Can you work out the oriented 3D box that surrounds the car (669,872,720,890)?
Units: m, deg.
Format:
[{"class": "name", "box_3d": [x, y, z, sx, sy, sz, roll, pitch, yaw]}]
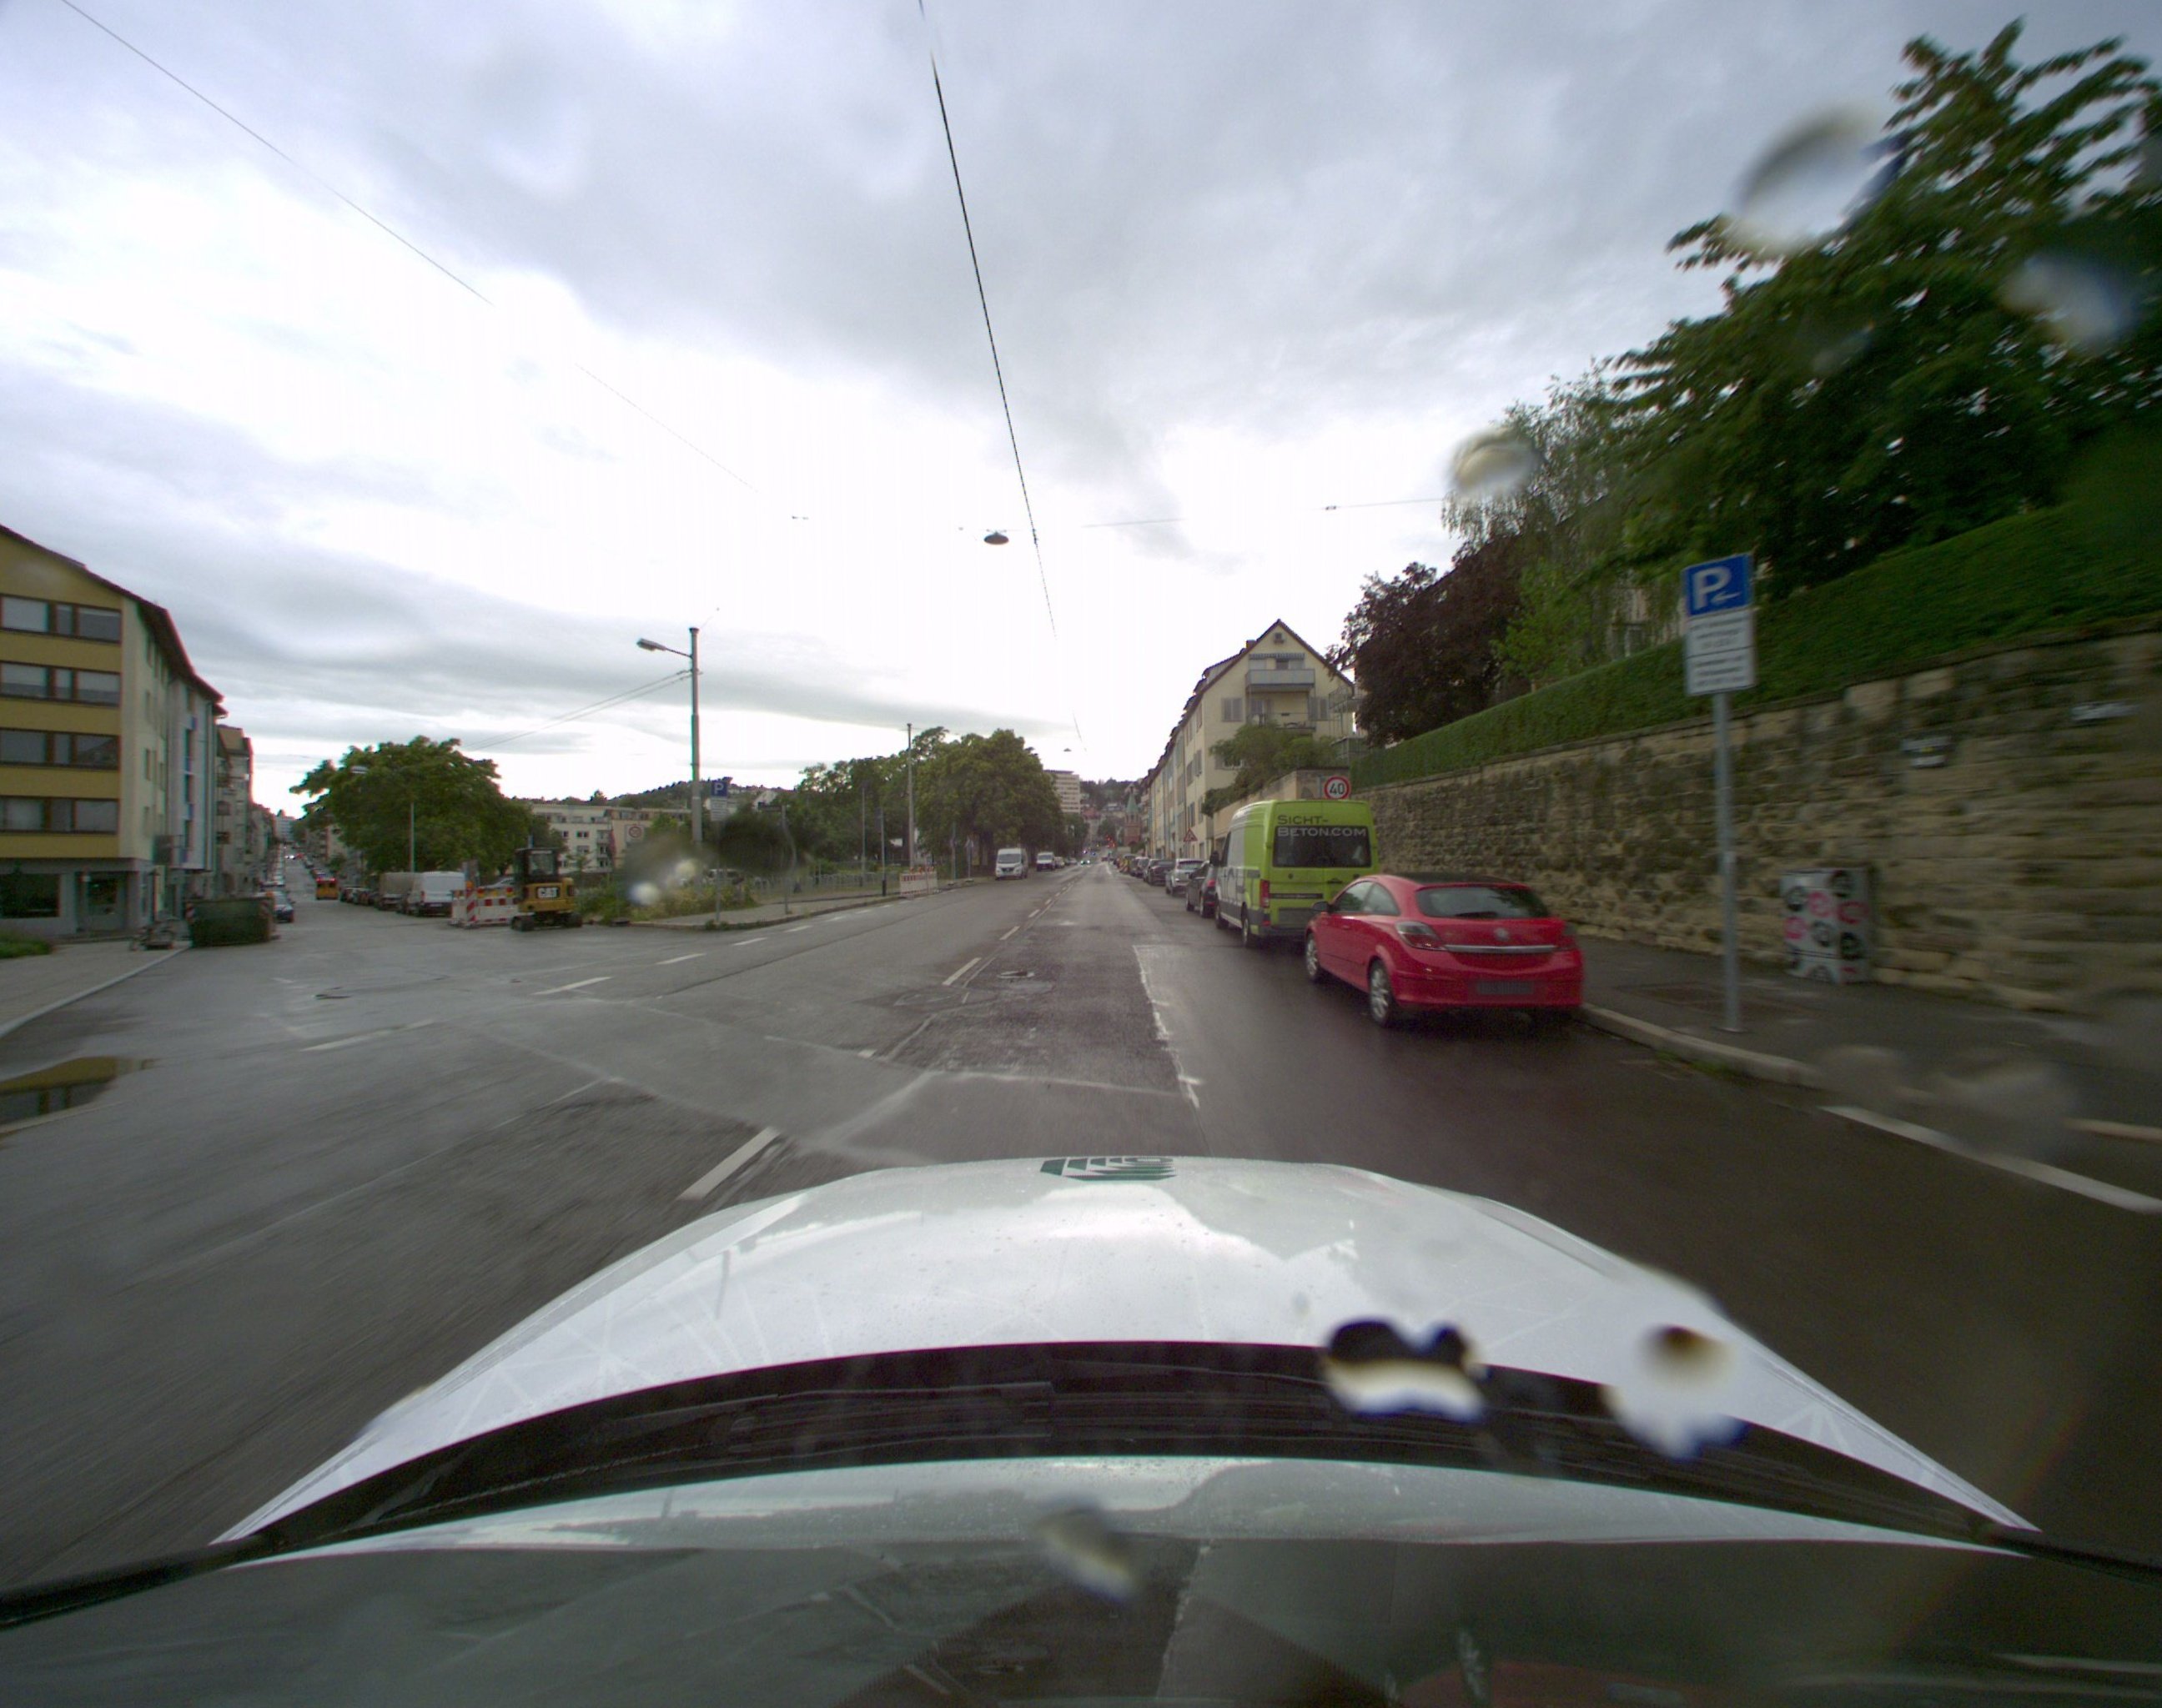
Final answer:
[{"class": "car", "box_3d": [-37.066, 2.579, 78.181, 1.777, 1.625, 4.024, -2, -1, 43]}]

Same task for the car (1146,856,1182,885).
[{"class": "car", "box_3d": [4.394, 0.842, 43.599, 1.623, 1.454, 3.760, 0, 0, 1]}]

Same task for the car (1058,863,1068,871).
[{"class": "car", "box_3d": [-3.507, 2.505, 160.306, 1.798, 1.450, 4.656, -2, -1, -1]}]

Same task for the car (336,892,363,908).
[{"class": "car", "box_3d": [-78.150, 4.924, 86.978, 3.949, 1.510, 1.811, -3, 0, 44]}]

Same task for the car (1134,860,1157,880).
[{"class": "car", "box_3d": [4.959, 1.210, 63.033, 1.553, 1.454, 3.760, 0, 0, 1]}]

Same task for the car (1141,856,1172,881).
[{"class": "car", "box_3d": [4.638, 0.881, 50.381, 1.623, 1.454, 3.760, 0, 0, 1]}]

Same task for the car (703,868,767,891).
[{"class": "car", "box_3d": [-30.065, 2.202, 70.831, 1.975, 1.834, 4.721, -2, -1, 43]}]

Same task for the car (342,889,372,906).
[{"class": "car", "box_3d": [-71.521, 4.287, 80.429, 3.949, 1.510, 1.811, -3, 0, 44]}]

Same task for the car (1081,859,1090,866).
[{"class": "car", "box_3d": [0.935, 1.887, 171.639, 1.799, 1.416, 4.382, -1, -1, 0]}]

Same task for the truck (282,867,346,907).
[{"class": "truck", "box_3d": [-110.272, 4.764, 116.961, 15.505, 5.144, 5.645, -3, 0, 44]}]

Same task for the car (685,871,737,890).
[{"class": "car", "box_3d": [-34.400, 2.467, 75.809, 1.777, 1.625, 4.024, -2, -1, 43]}]

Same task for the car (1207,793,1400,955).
[{"class": "car", "box_3d": [3.883, 0.307, 15.532, 2.197, 2.463, 6.082, 0, 0, 2]}]

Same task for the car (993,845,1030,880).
[{"class": "car", "box_3d": [-5.502, 0.640, 65.140, 2.222, 2.579, 6.537, -3, 0, 1]}]

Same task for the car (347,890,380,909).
[{"class": "car", "box_3d": [-65.032, 4.131, 73.791, 3.949, 1.510, 1.811, -3, 0, 44]}]

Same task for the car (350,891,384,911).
[{"class": "car", "box_3d": [-61.833, 4.054, 70.482, 3.949, 1.510, 1.811, -3, 0, 44]}]

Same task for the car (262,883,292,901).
[{"class": "car", "box_3d": [-76.268, 3.617, 77.239, 3.949, 1.510, 1.811, -3, 0, 44]}]

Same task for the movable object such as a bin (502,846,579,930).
[{"class": "movable object such as a bin", "box_3d": [-17.649, 1.033, 26.495, 1.679, 2.459, 5.228, -1, -1, -38]}]

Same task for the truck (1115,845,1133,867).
[{"class": "truck", "box_3d": [6.498, 0.373, 123.800, 2.460, 3.172, 7.038, -1, -1, 2]}]

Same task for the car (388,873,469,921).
[{"class": "car", "box_3d": [-37.349, 2.444, 46.542, 5.660, 2.413, 2.691, -3, 0, 42]}]

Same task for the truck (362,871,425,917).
[{"class": "truck", "box_3d": [-48.784, 2.817, 57.777, 5.223, 2.931, 2.797, -3, 0, 44]}]

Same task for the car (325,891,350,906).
[{"class": "car", "box_3d": [-85.619, 5.099, 93.777, 3.949, 1.510, 1.811, -3, 0, 44]}]

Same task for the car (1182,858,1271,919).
[{"class": "car", "box_3d": [3.801, 0.838, 21.909, 1.682, 1.454, 4.236, 0, 0, 1]}]

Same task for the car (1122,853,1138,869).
[{"class": "car", "box_3d": [5.881, 0.833, 97.735, 1.810, 1.924, 4.241, -2, 0, 2]}]

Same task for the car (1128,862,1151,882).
[{"class": "car", "box_3d": [4.916, 1.488, 68.415, 1.710, 1.524, 4.000, 0, 0, 1]}]

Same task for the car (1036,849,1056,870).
[{"class": "car", "box_3d": [-4.417, 0.687, 103.991, 2.004, 2.487, 5.986, -2, 0, 2]}]

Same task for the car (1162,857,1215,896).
[{"class": "car", "box_3d": [4.306, 0.950, 33.181, 1.682, 1.454, 4.234, 0, -3, 1]}]

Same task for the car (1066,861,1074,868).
[{"class": "car", "box_3d": [-2.322, 2.255, 175.585, 1.704, 1.450, 4.294, -2, -1, 0]}]

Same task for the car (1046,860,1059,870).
[{"class": "car", "box_3d": [-4.129, 1.660, 119.596, 1.677, 1.398, 3.910, -2, -1, 1]}]

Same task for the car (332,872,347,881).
[{"class": "car", "box_3d": [-132.683, 4.011, 145.737, 1.809, 1.510, 3.954, -1, -1, -38]}]

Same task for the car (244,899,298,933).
[{"class": "car", "box_3d": [-41.804, 3.163, 42.027, 3.949, 1.510, 1.811, -3, 0, 44]}]

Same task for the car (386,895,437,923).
[{"class": "car", "box_3d": [-41.068, 3.353, 49.953, 3.949, 1.510, 1.811, -3, 0, 42]}]

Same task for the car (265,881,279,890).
[{"class": "car", "box_3d": [-152.567, 6.022, 153.569, 3.949, 1.510, 1.811, -3, 0, 44]}]

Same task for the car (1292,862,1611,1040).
[{"class": "car", "box_3d": [3.602, 0.818, 8.834, 1.714, 1.421, 4.206, 0, 0, 2]}]

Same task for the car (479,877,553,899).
[{"class": "car", "box_3d": [-48.313, 2.885, 69.673, 4.934, 1.626, 2.099, -2, -3, -45]}]

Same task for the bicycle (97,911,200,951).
[{"class": "bicycle", "box_3d": [-27.138, 2.225, 23.746, 1.801, 1.108, 0.711, 1, -2, -23]}]
